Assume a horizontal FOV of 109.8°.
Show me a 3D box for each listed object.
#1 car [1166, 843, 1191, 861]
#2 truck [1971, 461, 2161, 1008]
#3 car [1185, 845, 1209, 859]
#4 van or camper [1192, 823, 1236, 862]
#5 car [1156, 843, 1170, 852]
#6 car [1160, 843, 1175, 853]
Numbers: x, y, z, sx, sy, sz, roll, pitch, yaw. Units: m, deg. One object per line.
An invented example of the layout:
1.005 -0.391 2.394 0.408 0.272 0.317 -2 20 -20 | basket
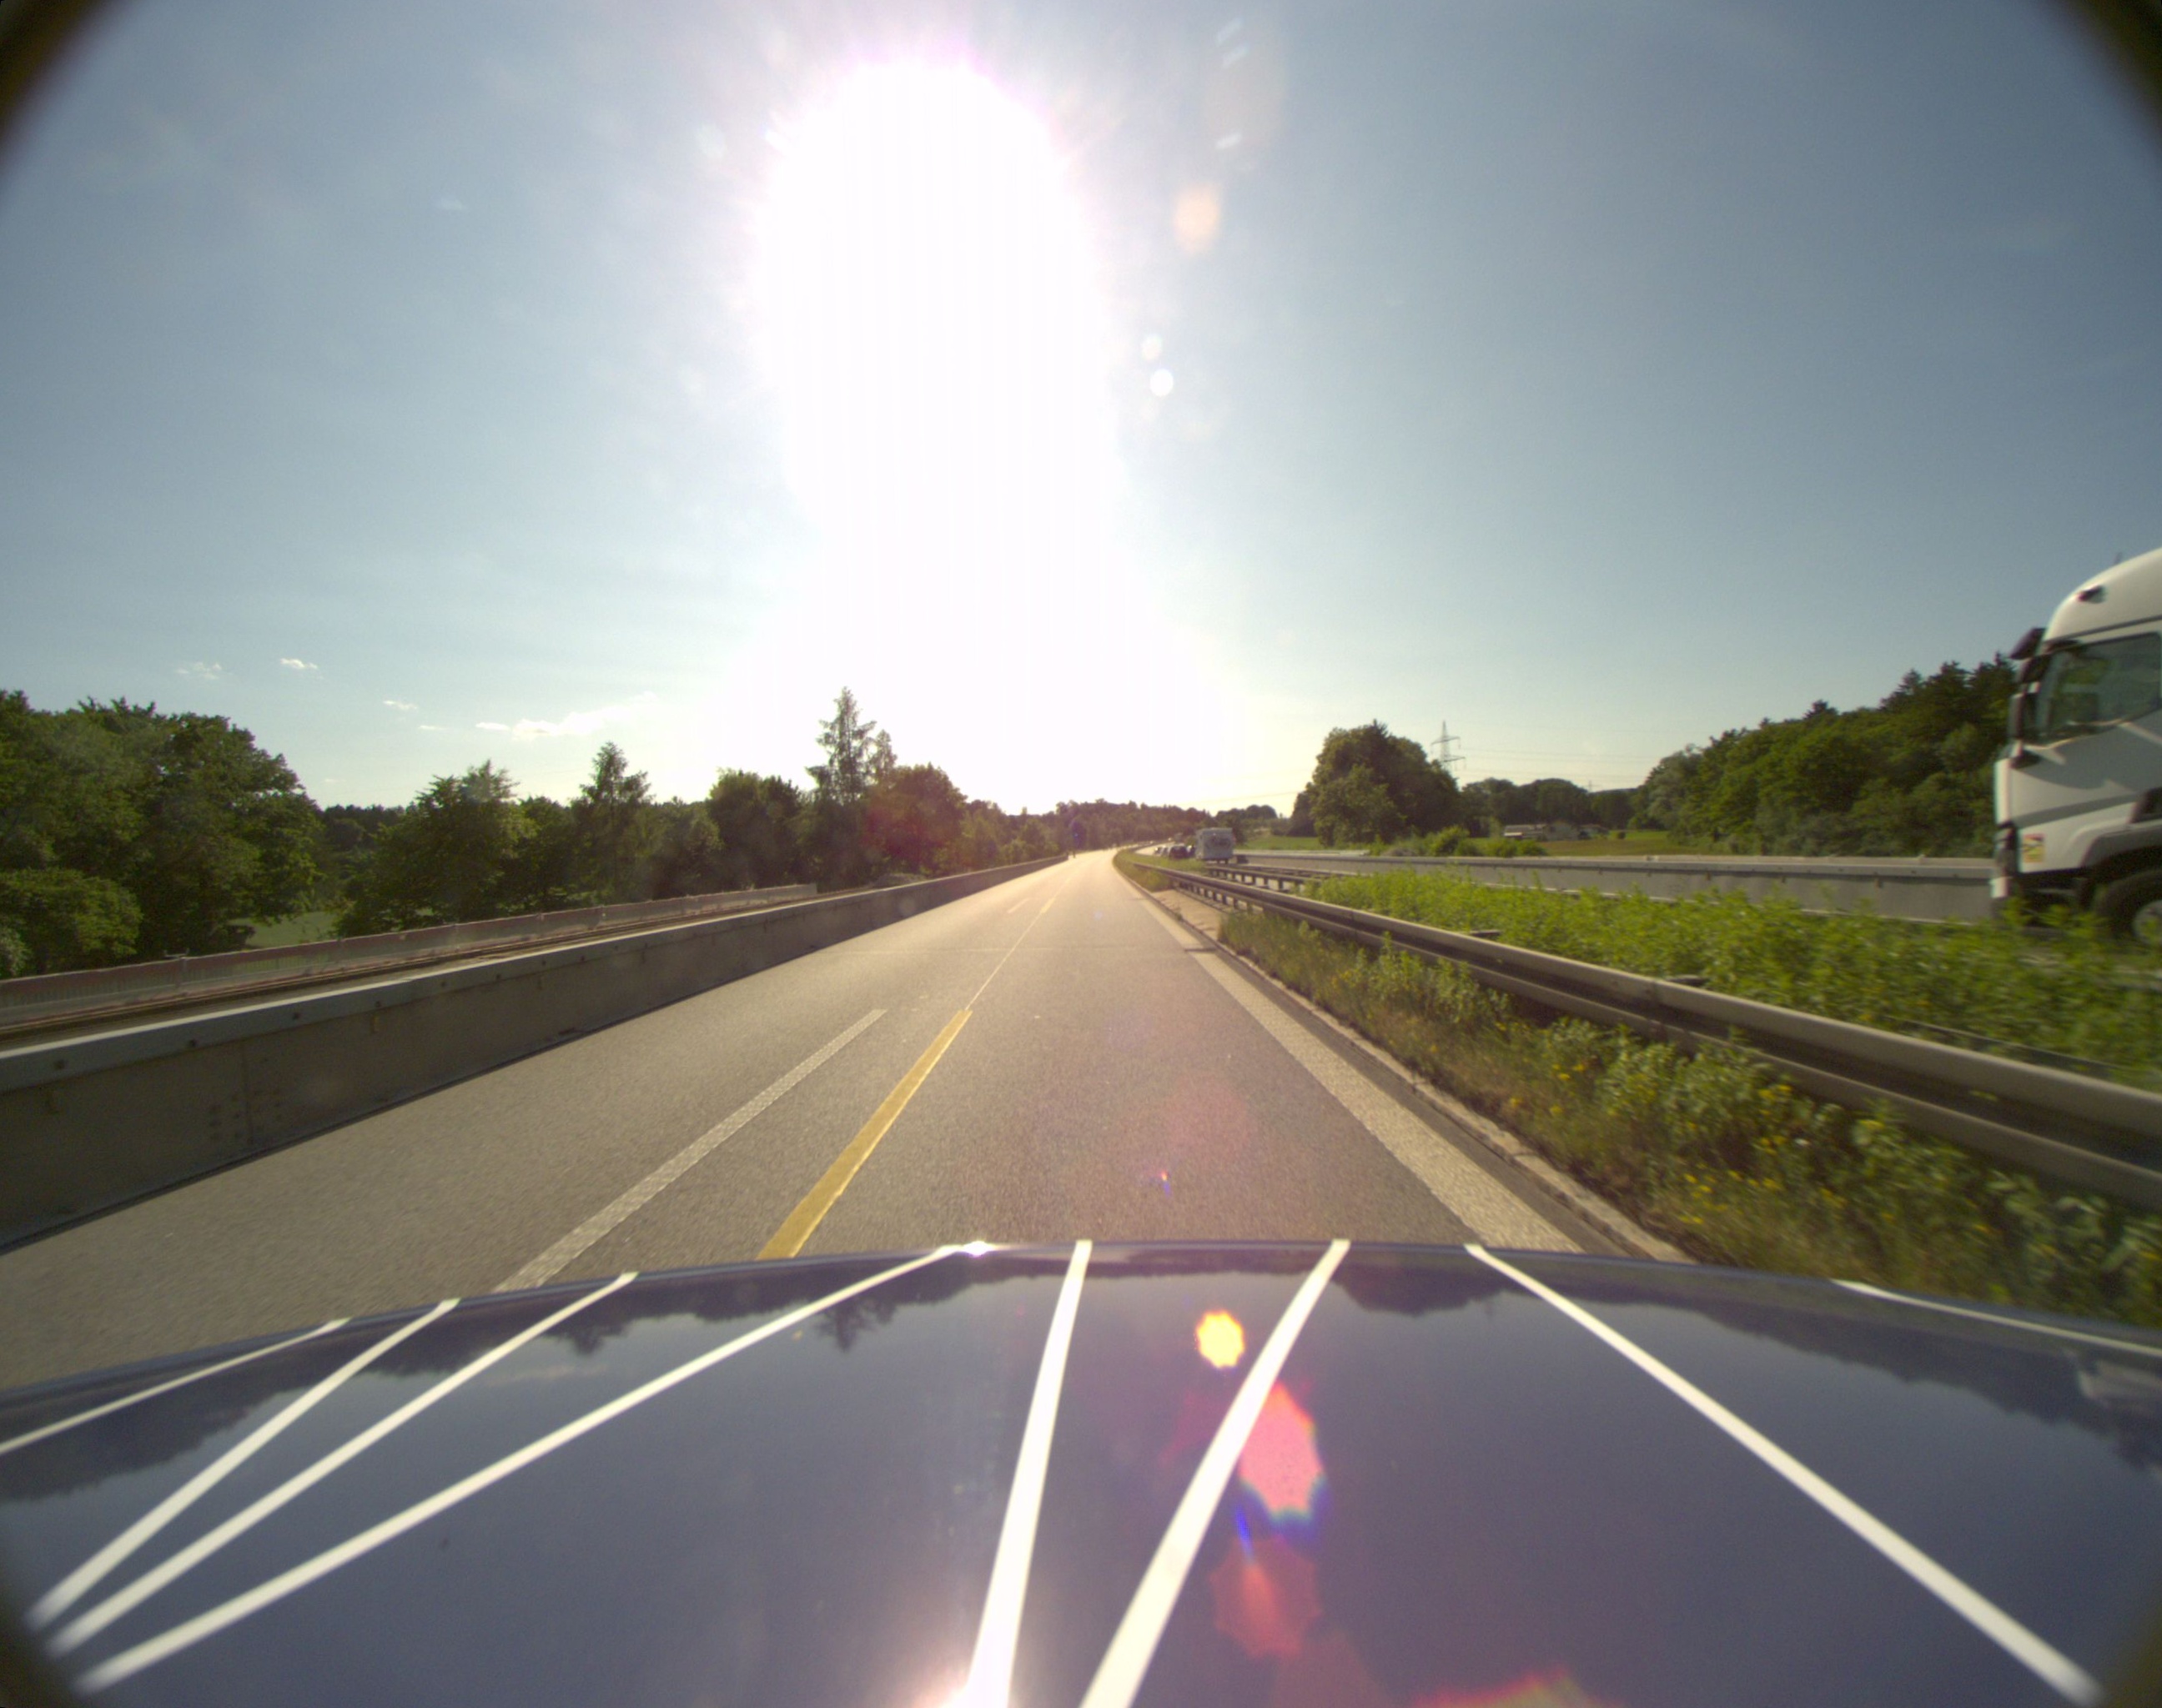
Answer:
8.159 -0.180 63.759 1.746 1.521 4.000 -1 1 2 | car
9.419 -0.897 4.128 2.777 4.064 5.474 -2 1 0 | truck
11.639 -0.210 76.675 1.745 1.424 5.235 1 0 1 | car
10.837 -0.927 62.585 2.412 2.933 7.522 -3 1 2 | van or camper
13.963 -1.123 129.141 1.887 1.424 4.983 -2 1 1 | car
12.467 -0.882 109.654 1.705 1.424 4.955 -1 1 1 | car
